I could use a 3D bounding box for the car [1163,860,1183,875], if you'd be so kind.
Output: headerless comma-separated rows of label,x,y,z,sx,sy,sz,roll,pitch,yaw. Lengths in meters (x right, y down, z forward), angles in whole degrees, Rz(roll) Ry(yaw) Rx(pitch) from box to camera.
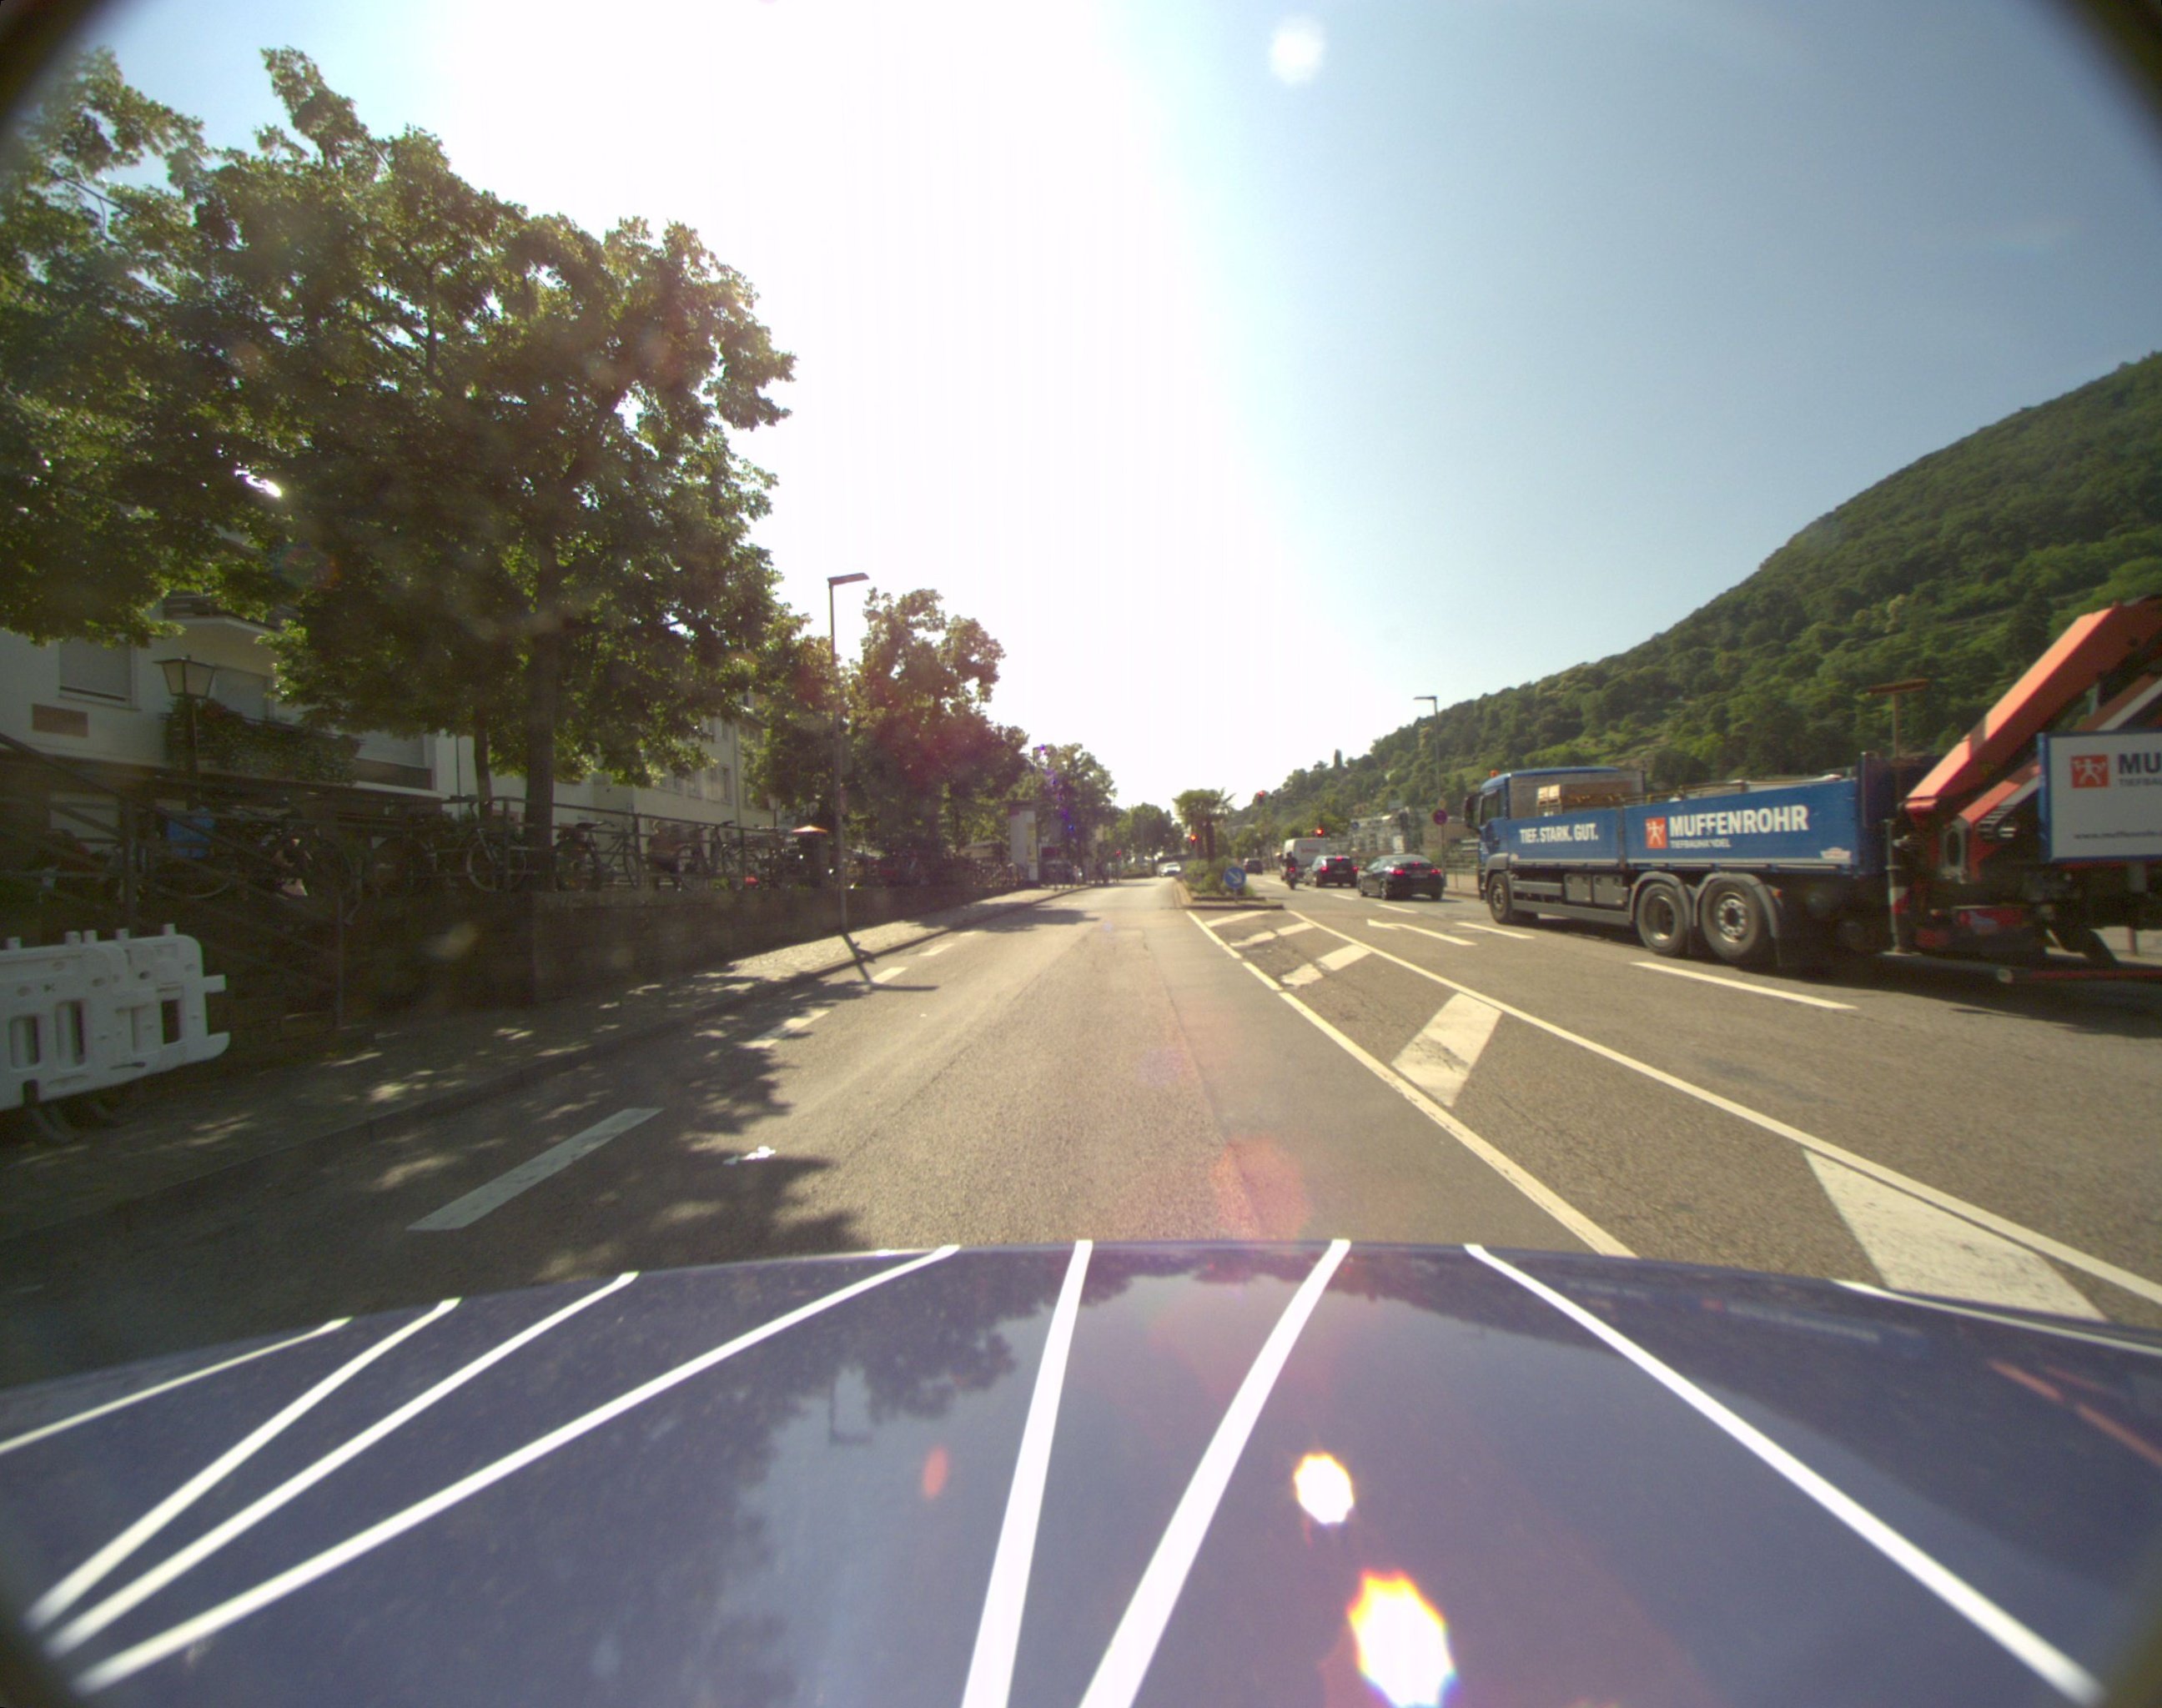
car,9.757,1.396,80.240,1.997,1.497,4.595,-2,-1,8

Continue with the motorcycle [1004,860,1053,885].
motorcycle,-2.792,0.998,40.296,2.531,1.267,0.725,-2,0,29

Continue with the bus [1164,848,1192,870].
bus,15.727,0.876,124.113,2.656,3.368,10.793,-2,0,-2

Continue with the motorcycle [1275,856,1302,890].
motorcycle,8.843,0.769,32.473,0.727,1.379,2.513,-2,0,8

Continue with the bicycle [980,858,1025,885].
bicycle,-3.947,0.873,38.285,2.160,1.360,0.584,0,0,6

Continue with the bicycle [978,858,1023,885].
bicycle,-4.012,0.871,37.746,2.160,1.360,0.477,0,0,6

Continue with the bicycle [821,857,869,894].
bicycle,-5.317,0.476,17.205,0.350,0.779,1.919,-2,-1,4

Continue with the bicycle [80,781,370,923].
bicycle,-7.818,0.005,7.099,0.382,1.133,1.935,-2,-1,5

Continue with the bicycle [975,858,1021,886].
bicycle,-4.074,0.871,37.242,2.160,1.360,0.477,0,0,6

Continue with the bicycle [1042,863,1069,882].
bicycle,-1.540,1.125,46.348,1.628,1.163,0.426,-1,-1,24

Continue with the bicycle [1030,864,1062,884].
bicycle,-1.924,1.105,41.888,1.753,1.126,0.540,0,0,-1

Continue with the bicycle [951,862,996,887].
bicycle,-4.791,0.912,33.983,1.953,1.094,0.423,0,0,6

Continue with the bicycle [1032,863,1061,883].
bicycle,-1.990,1.097,43.682,1.631,1.126,0.414,0,0,2

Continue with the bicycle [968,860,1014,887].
bicycle,-4.284,0.924,36.222,2.160,1.254,0.477,0,0,6

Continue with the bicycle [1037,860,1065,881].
bicycle,-1.788,0.984,44.955,1.631,1.210,0.414,0,0,2

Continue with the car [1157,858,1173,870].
car,11.010,1.280,99.808,1.998,1.497,4.593,-1,0,4

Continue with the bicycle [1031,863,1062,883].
bicycle,-1.953,1.092,43.375,1.752,1.126,0.464,0,0,2

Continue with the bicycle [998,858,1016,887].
bicycle,-3.332,0.834,34.293,0.476,1.254,2.163,0,0,4

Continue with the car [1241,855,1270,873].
car,15.657,0.909,68.432,1.998,1.444,4.263,-3,0,6

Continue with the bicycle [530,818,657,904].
bicycle,-6.244,0.099,9.851,0.298,0.998,1.861,-2,-1,5

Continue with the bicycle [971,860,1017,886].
bicycle,-4.201,0.925,36.723,2.160,1.254,0.477,0,0,6

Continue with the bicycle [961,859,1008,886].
bicycle,-4.492,0.845,35.411,2.160,1.254,0.421,0,0,6

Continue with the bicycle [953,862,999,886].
bicycle,-4.753,0.908,34.451,1.966,1.105,0.477,0,0,6

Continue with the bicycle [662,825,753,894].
bicycle,-5.837,0.100,11.991,0.298,0.998,1.942,-2,-1,5

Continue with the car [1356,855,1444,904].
car,10.399,0.779,25.060,1.660,1.428,4.083,-2,0,8

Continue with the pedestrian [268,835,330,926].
pedestrian,-14.421,0.480,14.026,0.541,1.626,0.502,-4,0,8

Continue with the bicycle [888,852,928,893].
bicycle,-4.828,0.502,21.331,0.345,1.106,1.920,-2,0,10

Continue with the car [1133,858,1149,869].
car,10.498,1.630,132.785,1.999,1.750,4.589,-2,1,-4

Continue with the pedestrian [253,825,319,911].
pedestrian,-14.638,0.254,13.998,0.469,1.536,0.608,-4,0,8

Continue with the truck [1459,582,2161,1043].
truck,9.053,-0.305,11.181,2.647,3.456,11.113,-2,0,7

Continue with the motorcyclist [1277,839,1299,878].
motorcyclist,8.927,0.202,32.818,0.703,1.514,0.864,-3,-14,8

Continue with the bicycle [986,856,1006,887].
bicycle,-3.578,0.723,32.046,0.476,1.254,2.163,0,0,4

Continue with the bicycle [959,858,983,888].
bicycle,-3.994,0.688,27.788,0.301,1.042,2.164,0,-1,7

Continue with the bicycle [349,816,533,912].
bicycle,-7.147,0.119,8.496,1.858,0.998,0.299,-2,-1,3

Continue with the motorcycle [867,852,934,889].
motorcycle,-5.556,0.517,23.473,1.920,1.092,0.575,-1,0,-2

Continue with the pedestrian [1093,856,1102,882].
pedestrian,1.115,1.019,51.751,0.541,1.767,0.583,-1,0,4

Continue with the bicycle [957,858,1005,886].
bicycle,-4.603,0.822,34.956,2.160,1.254,0.477,0,0,6

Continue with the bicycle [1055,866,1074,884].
bicycle,-0.921,1.191,43.126,0.539,1.002,1.756,-2,-1,17

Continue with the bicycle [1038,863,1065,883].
bicycle,-1.770,1.127,45.696,1.631,1.163,0.350,0,0,2

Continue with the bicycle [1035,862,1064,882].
bicycle,-1.855,1.053,44.539,1.631,1.210,0.414,0,0,2

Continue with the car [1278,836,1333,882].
car,12.939,0.267,44.010,2.199,2.511,4.751,0,0,6

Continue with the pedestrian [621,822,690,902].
pedestrian,-7.002,0.127,12.526,0.696,1.257,0.670,-2,0,2

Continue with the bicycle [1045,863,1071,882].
bicycle,-1.415,1.138,46.630,1.628,1.163,0.367,-1,-1,24

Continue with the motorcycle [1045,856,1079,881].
motorcycle,-1.215,0.911,47.986,2.196,1.519,0.800,-2,0,42

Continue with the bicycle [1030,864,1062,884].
bicycle,-1.933,1.107,42.529,1.752,1.126,0.464,0,0,2

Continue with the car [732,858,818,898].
car,-14.804,1.195,37.060,1.835,1.789,4.740,-2,-2,6

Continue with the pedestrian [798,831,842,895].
pedestrian,-5.982,0.201,17.437,0.669,1.407,0.697,-2,0,5

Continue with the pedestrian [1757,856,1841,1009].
pedestrian,7.171,0.767,7.601,0.351,1.476,0.414,-5,0,8

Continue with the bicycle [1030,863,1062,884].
bicycle,-1.976,1.099,42.938,1.752,1.126,0.464,0,0,2

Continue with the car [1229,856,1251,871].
car,16.930,0.985,80.977,1.997,1.449,4.646,-2,0,8

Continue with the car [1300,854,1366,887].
car,11.794,0.746,35.887,1.997,1.410,4.923,-2,0,7

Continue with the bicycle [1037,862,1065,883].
bicycle,-1.815,1.103,45.394,1.631,1.210,0.414,0,0,2

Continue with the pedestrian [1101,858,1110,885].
pedestrian,1.637,1.166,50.909,0.541,1.767,0.583,-1,0,11

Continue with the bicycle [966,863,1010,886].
bicycle,-4.390,0.961,35.799,2.027,1.086,0.338,0,0,6
